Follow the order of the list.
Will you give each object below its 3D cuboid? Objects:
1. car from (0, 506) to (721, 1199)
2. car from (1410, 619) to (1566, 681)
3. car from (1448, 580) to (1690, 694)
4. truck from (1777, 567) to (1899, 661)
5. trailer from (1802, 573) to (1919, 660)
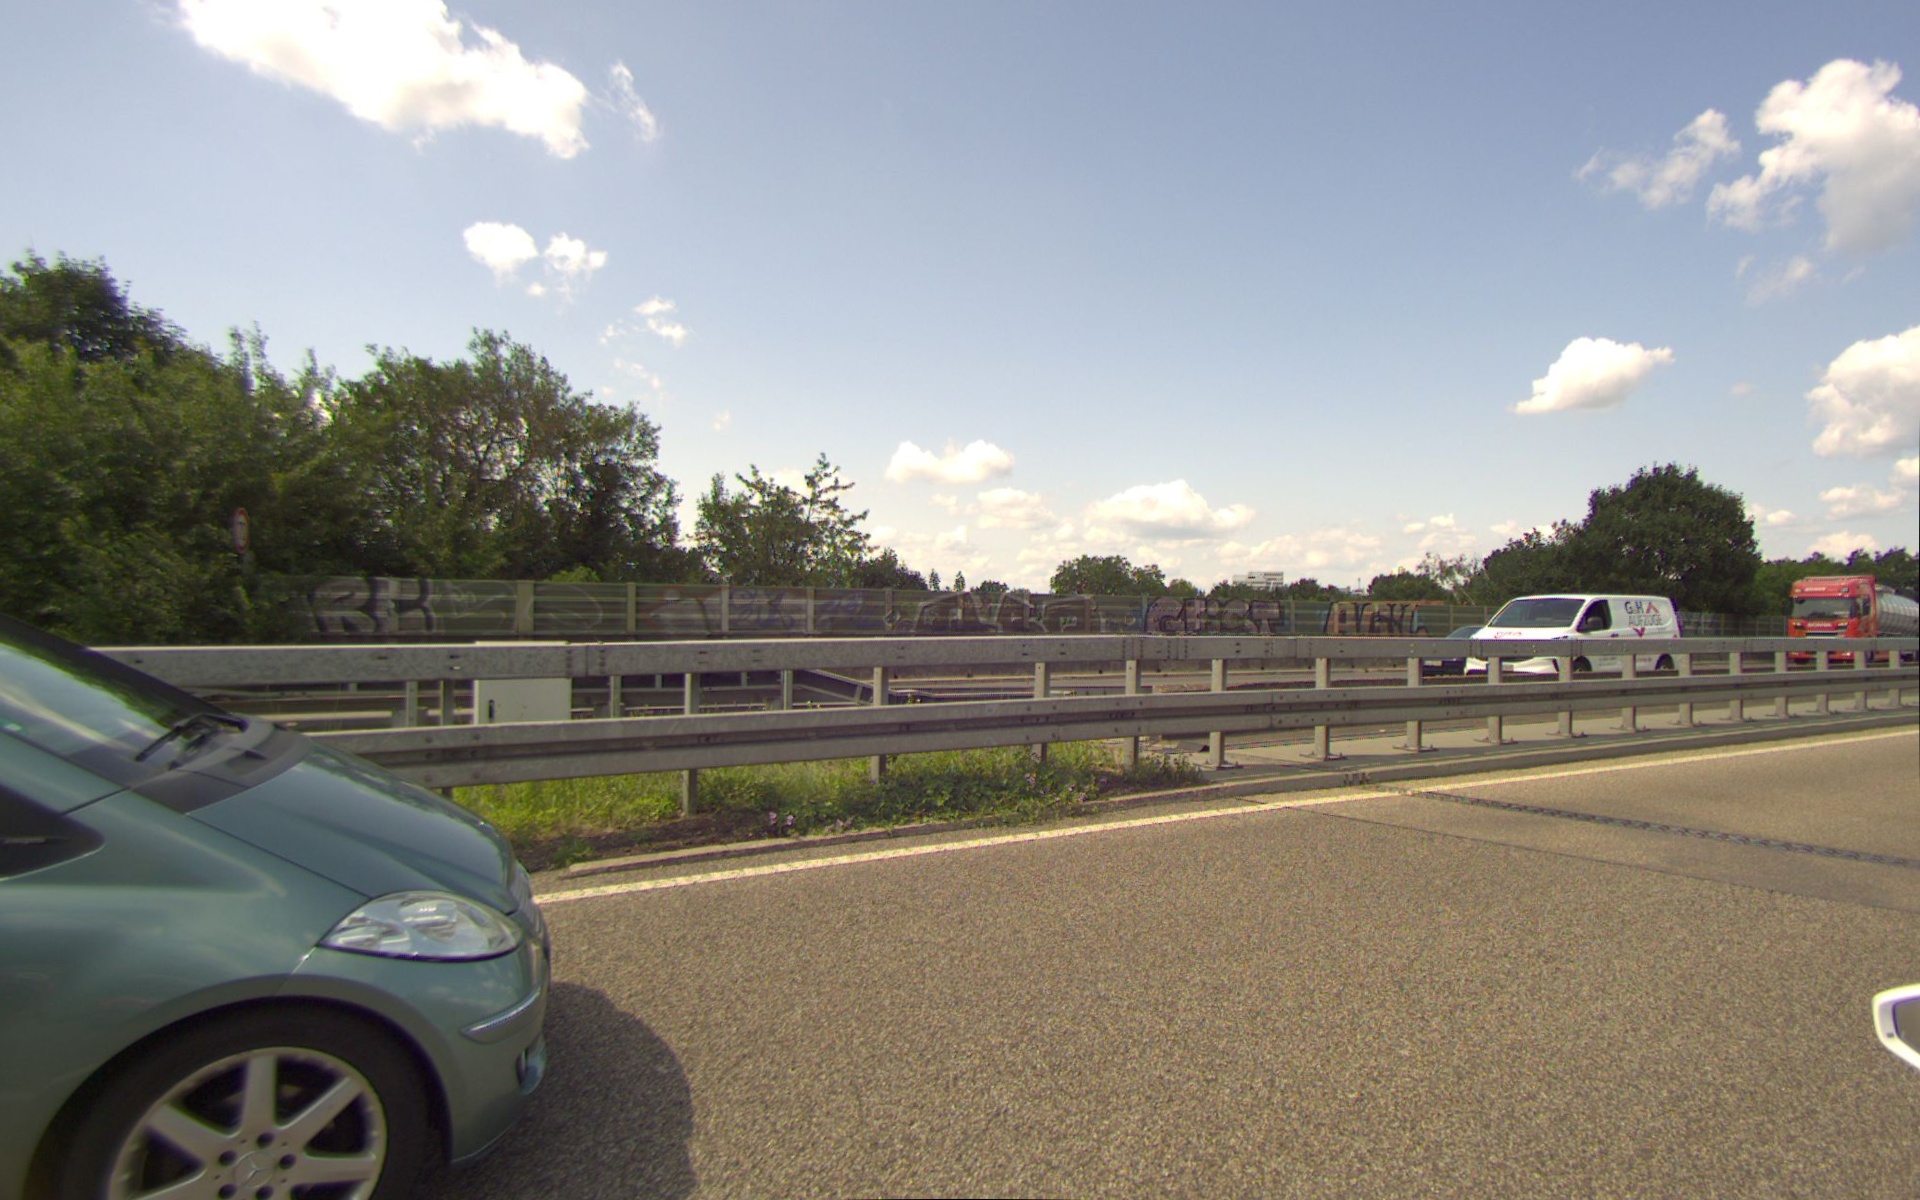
[{"bbox_3d":[-2.713,0.588,2.141,3.953,1.551,1.739,1,0,-30],"label":"car"},{"bbox_3d":[13.889,1.291,26.359,4.355,1.451,1.679,2,1,-33],"label":"car"},{"bbox_3d":[12.207,0.768,20.038,5.173,2.015,2.068,2,-3,-33],"label":"car"},{"bbox_3d":[38.610,0.625,44.137,6.173,3.833,2.629,2,1,-36],"label":"truck"},{"bbox_3d":[43.468,0.832,47.770,10.924,3.719,2.665,2,1,-37],"label":"trailer"}]
